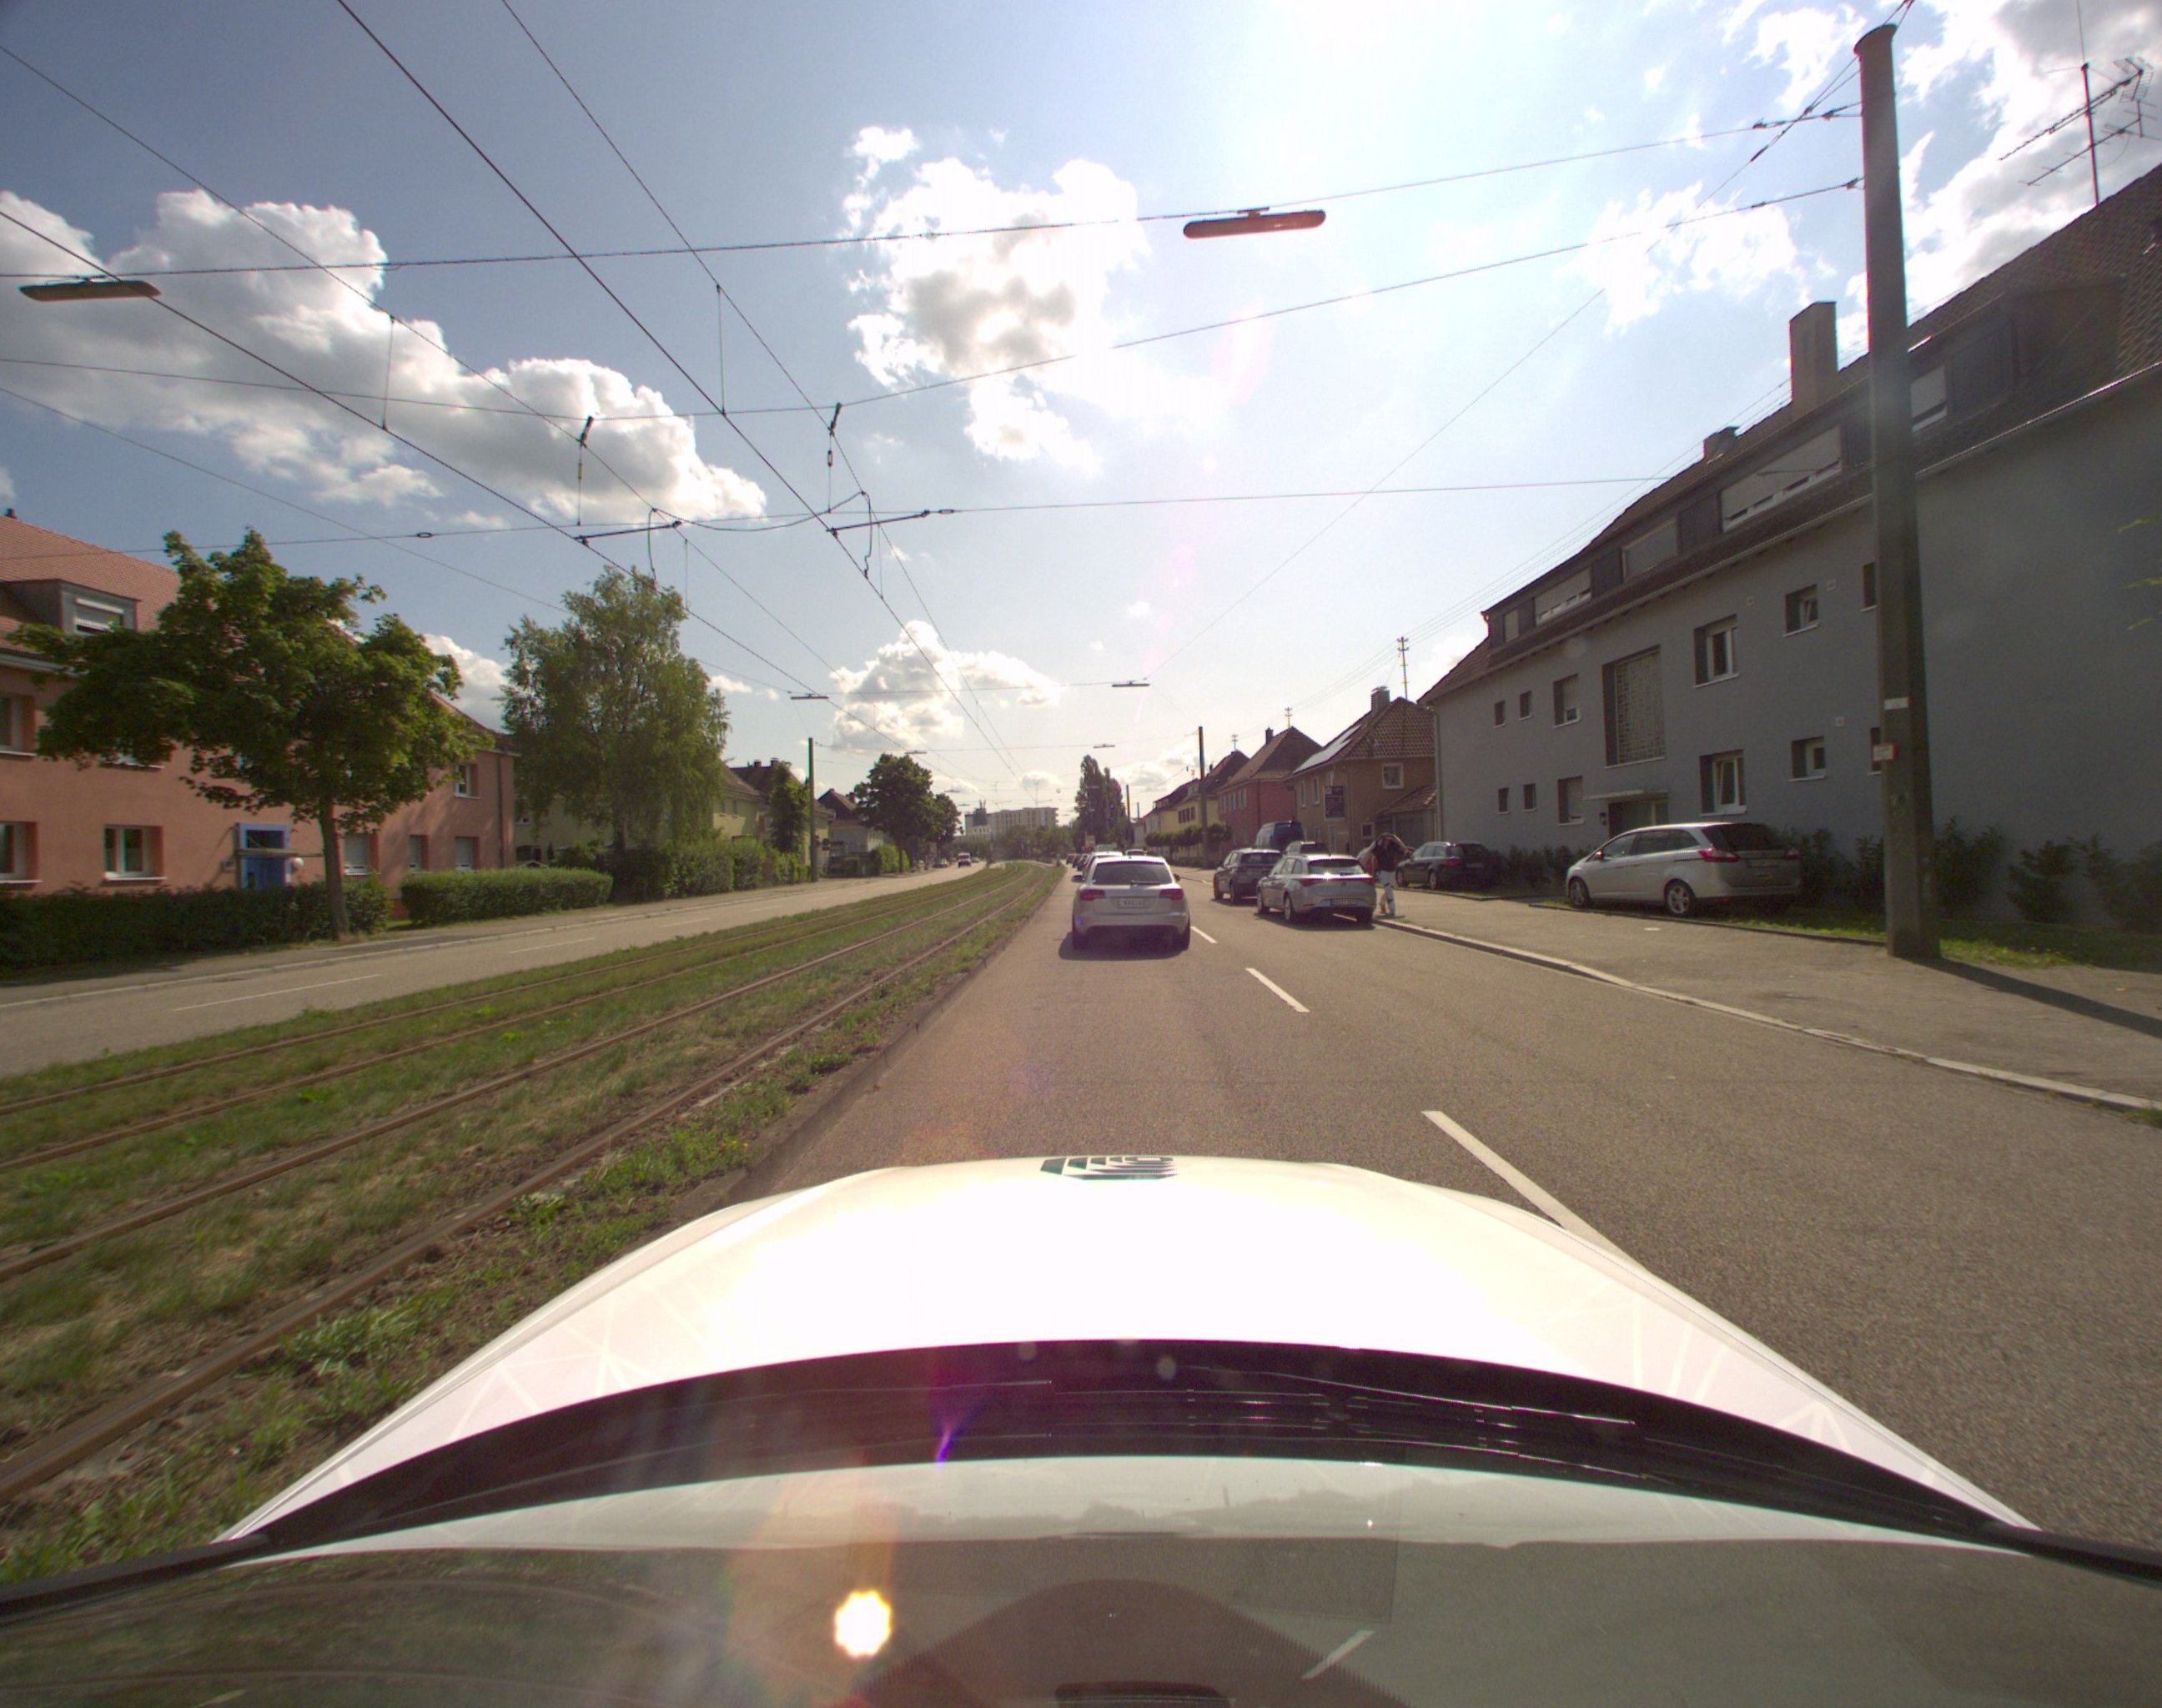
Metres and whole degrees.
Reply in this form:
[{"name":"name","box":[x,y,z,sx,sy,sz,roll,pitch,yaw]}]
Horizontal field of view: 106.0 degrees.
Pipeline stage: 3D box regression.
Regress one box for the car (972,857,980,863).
[{"name":"car","box":[-28.007,1.583,216.614,1.896,1.541,3.717,0,-1,-9]}]

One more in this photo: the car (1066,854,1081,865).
[{"name":"car","box":[-1.060,0.745,117.117,1.878,1.530,4.095,0,-1,2]}]

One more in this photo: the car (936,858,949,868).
[{"name":"car","box":[-24.693,1.622,145.311,2.061,1.614,4.735,-2,0,-11]}]

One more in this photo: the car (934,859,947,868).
[{"name":"car","box":[-24.022,1.607,139.125,1.783,1.584,3.925,-2,0,-4]}]

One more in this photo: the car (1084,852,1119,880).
[{"name":"car","box":[1.173,0.652,46.628,1.878,1.466,4.095,-2,0,1]}]

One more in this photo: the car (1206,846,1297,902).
[{"name":"car","box":[5.138,0.577,25.079,1.802,1.559,4.251,0,-1,-2]}]

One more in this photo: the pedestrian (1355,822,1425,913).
[{"name":"pedestrian","box":[6.900,0.307,18.266,1.108,1.946,1.092,-2,-1,0]}]

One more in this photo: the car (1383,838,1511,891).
[{"name":"car","box":[11.276,0.296,25.489,1.793,1.423,4.857,-3,0,0]}]

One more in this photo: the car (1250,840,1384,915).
[{"name":"car","box":[5.109,0.476,18.279,1.808,1.454,4.645,0,-1,2]}]

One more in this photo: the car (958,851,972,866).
[{"name":"car","box":[-18.921,0.755,132.523,2.196,2.372,5.316,-3,0,-9]}]

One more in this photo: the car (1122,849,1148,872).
[{"name":"car","box":[4.270,0.495,64.378,1.877,1.731,4.099,-2,0,4]}]

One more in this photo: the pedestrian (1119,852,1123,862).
[{"name":"pedestrian","box":[7.829,0.585,159.813,0.720,1.782,0.702,-4,0,-3]}]

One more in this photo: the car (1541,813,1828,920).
[{"name":"car","box":[11.094,0.220,15.525,1.752,1.647,4.765,-3,-1,-2]}]

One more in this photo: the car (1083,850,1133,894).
[{"name":"car","box":[0.995,0.655,31.698,1.781,1.577,4.094,0,0,0]}]

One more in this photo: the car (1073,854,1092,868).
[{"name":"car","box":[0.194,0.746,87.780,1.878,1.530,4.095,0,-1,1]}]

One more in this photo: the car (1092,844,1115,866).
[{"name":"car","box":[2.641,0.093,97.323,2.038,2.557,5.220,-2,0,-6]}]

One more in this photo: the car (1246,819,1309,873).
[{"name":"car","box":[11.407,-0.415,47.778,2.144,2.930,6.243,0,-1,0]}]

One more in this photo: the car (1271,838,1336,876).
[{"name":"car","box":[11.238,0.154,41.523,1.831,1.711,4.862,-4,0,-1]}]

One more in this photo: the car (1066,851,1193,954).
[{"name":"car","box":[0.841,0.726,14.331,1.847,1.492,4.539,-1,0,3]}]

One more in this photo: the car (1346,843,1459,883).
[{"name":"car","box":[12.306,0.354,31.283,3.640,1.380,1.725,-1,-1,-2]}]
